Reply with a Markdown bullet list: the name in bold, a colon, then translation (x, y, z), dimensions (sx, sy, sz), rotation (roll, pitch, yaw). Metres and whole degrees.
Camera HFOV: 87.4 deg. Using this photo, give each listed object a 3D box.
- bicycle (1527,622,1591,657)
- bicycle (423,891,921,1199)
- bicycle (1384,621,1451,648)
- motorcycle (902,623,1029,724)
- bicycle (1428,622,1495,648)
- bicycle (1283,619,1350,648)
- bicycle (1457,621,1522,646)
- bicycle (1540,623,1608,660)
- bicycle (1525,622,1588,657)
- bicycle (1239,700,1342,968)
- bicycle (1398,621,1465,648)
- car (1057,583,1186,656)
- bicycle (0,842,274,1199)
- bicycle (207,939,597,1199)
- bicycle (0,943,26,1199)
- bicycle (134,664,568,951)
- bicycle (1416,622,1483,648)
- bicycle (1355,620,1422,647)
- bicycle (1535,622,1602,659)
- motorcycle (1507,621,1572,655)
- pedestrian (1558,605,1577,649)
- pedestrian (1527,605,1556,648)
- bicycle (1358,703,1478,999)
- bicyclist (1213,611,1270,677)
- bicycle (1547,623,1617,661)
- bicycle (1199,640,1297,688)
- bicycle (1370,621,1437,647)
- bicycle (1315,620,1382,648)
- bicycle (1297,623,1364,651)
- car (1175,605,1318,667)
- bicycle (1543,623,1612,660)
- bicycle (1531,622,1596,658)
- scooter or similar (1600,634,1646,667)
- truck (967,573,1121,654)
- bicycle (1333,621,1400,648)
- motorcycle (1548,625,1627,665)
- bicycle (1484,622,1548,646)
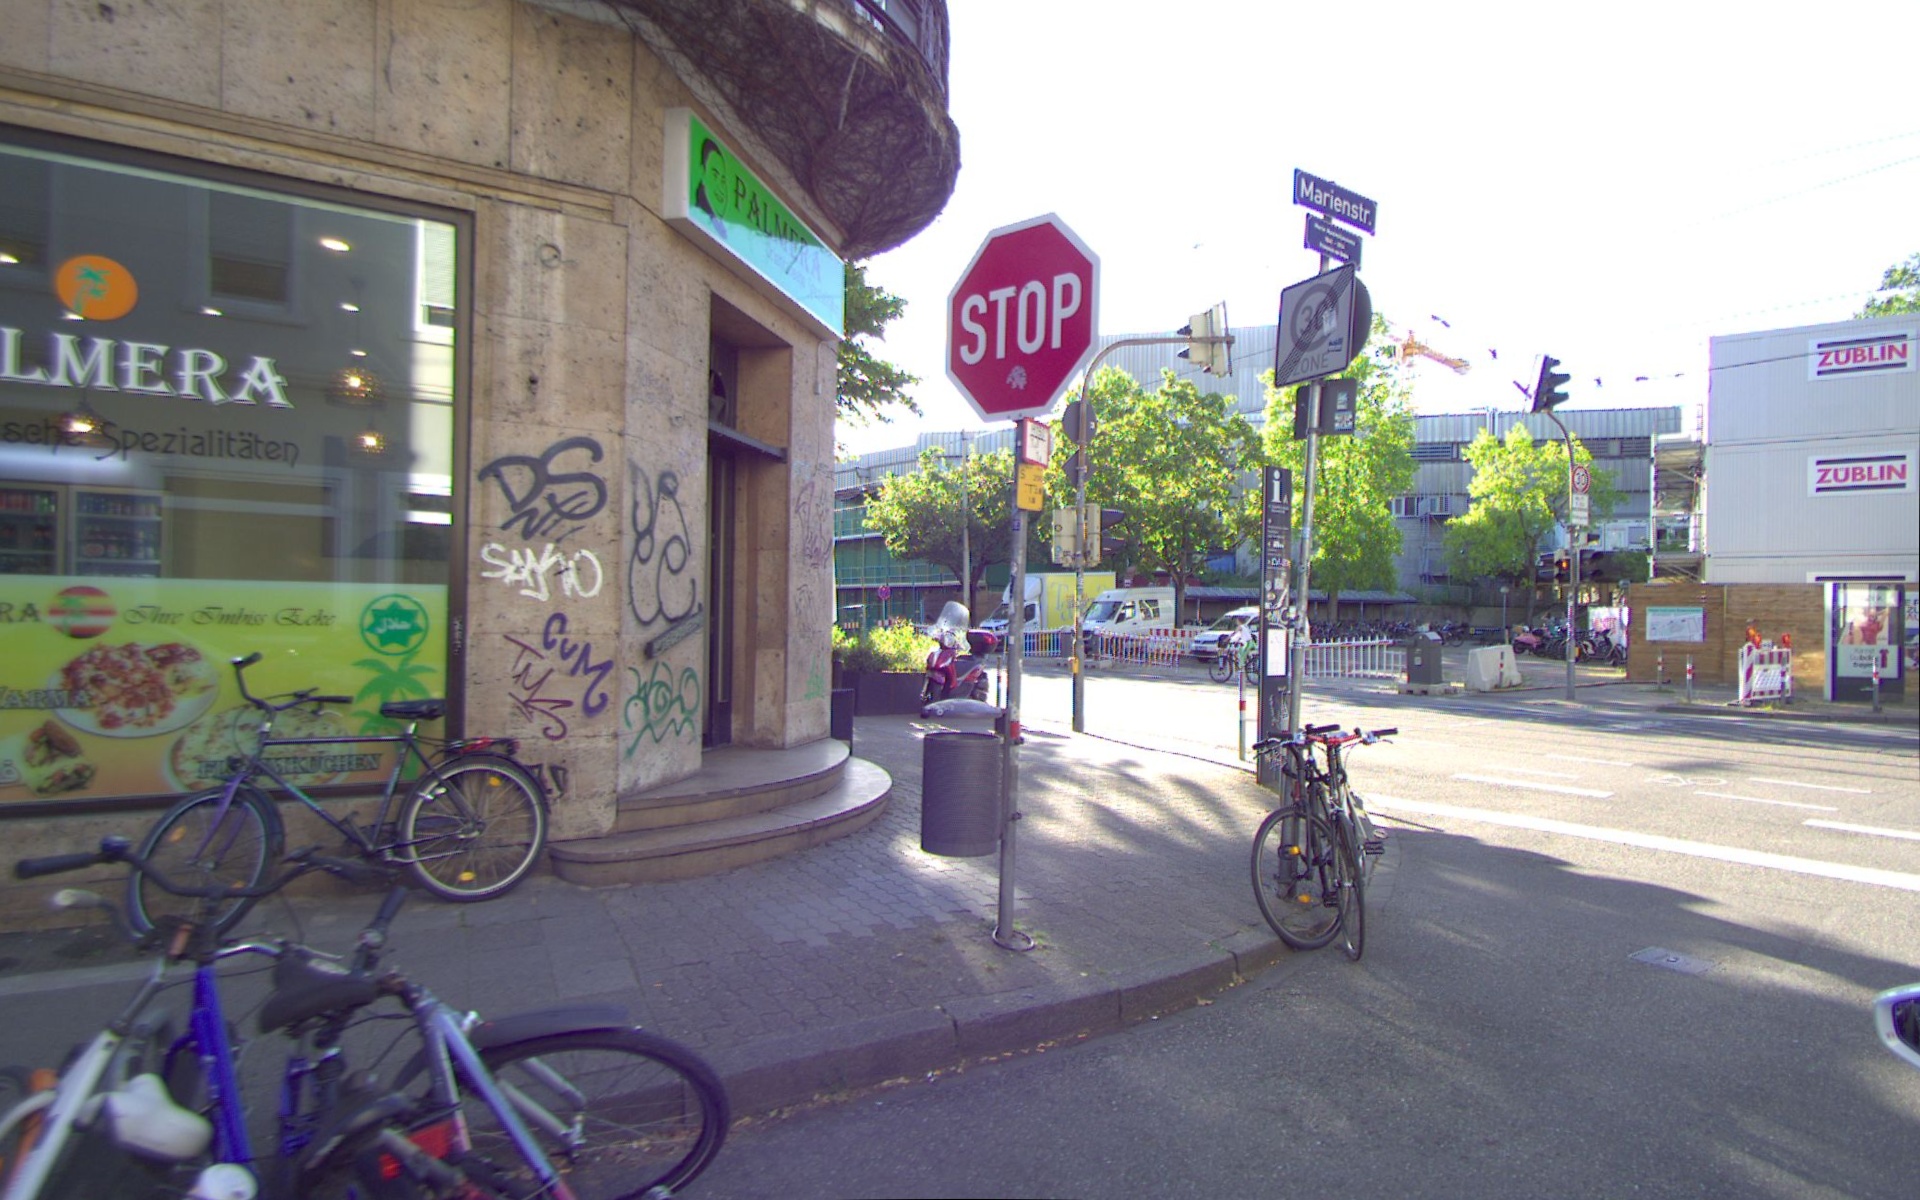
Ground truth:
- **bicycle**: translation (22.472, 1.485, 37.709), dimensions (2.009, 1.274, 0.543), rotation (0, 0, 18)
- **bicycle**: translation (-0.593, 1.088, 1.719), dimensions (0.368, 0.829, 1.299), rotation (1, -1, -37)
- **bicycle**: translation (21.412, 1.586, 47.086), dimensions (0.811, 1.163, 3.069), rotation (0, -1, -26)
- **motorcycle**: translation (0.141, 1.070, 14.904), dimensions (0.981, 1.368, 2.420), rotation (0, -3, 24)
- **bicycle**: translation (24.158, 1.681, 48.466), dimensions (0.811, 1.163, 3.069), rotation (0, -1, -26)
- **bicycle**: translation (15.564, 1.448, 43.961), dimensions (0.811, 1.163, 3.069), rotation (0, -1, -26)
- **bicycle**: translation (26.783, 1.678, 50.866), dimensions (0.811, 1.163, 3.069), rotation (0, -1, -26)
- **bicycle**: translation (21.727, 1.444, 35.577), dimensions (2.009, 1.274, 0.471), rotation (0, 0, 18)
- **bicycle**: translation (22.707, 1.497, 38.257), dimensions (2.009, 1.274, 0.543), rotation (0, 0, 18)
- **bicycle**: translation (1.811, 1.141, 5.389), dimensions (0.442, 1.059, 1.664), rotation (0, -1, 21)
- **bicycle**: translation (22.272, 1.616, 47.521), dimensions (0.811, 1.163, 3.069), rotation (0, -1, -26)
- **car**: translation (6.501, 0.707, 40.088), dimensions (5.332, 2.565, 1.978), rotation (-3, 2, -38)
- **bicycle**: translation (-1.518, 0.984, 1.833), dimensions (0.358, 0.829, 1.376), rotation (1, -3, -37)
- **bicycle**: translation (-0.888, 1.121, 1.487), dimensions (0.352, 0.829, 1.299), rotation (1, -1, -37)
- **bicycle**: translation (-1.799, 1.136, 1.556), dimensions (0.378, 0.829, 1.299), rotation (1, -3, -37)
- **bicycle**: translation (-2.632, 0.849, 4.503), dimensions (1.572, 1.106, 0.396), rotation (2, -1, -29)
- **bicycle**: translation (23.360, 1.653, 47.997), dimensions (0.811, 1.163, 3.069), rotation (0, -1, -26)
- **bicycle**: translation (19.703, 1.527, 46.241), dimensions (0.811, 1.163, 3.069), rotation (0, -1, -26)
- **bicycle**: translation (22.117, 1.465, 36.566), dimensions (2.009, 1.274, 0.543), rotation (0, 0, 18)
- **motorcycle**: translation (22.754, 1.490, 39.475), dimensions (2.168, 1.274, 0.543), rotation (0, 0, 18)
- **pedestrian**: translation (28.757, 1.281, 47.564), dimensions (0.789, 2.040, 1.028), rotation (0, 0, 31)
- **pedestrian**: translation (27.868, 1.281, 48.134), dimensions (0.926, 2.040, 0.798), rotation (0, 0, -25)
- **bicycle**: translation (2.301, 1.163, 5.164), dimensions (0.449, 1.060, 1.687), rotation (0, 1, 21)
- **bicyclist**: translation (7.312, 1.139, 26.103), dimensions (0.887, 1.661, 1.089), rotation (3, -2, -35)
- **bicycle**: translation (21.431, 1.428, 34.639), dimensions (2.009, 1.274, 0.471), rotation (0, 0, 18)
- **bicycle**: translation (7.403, 1.635, 25.937), dimensions (0.887, 1.107, 2.407), rotation (3, -2, -34)
- **bicycle**: translation (20.606, 1.559, 46.722), dimensions (0.811, 1.163, 3.069), rotation (0, -1, -26)
- **bicycle**: translation (17.379, 1.512, 45.056), dimensions (0.811, 1.163, 3.069), rotation (0, -1, -26)
- **bicycle**: translation (16.378, 1.618, 44.518), dimensions (0.811, 1.163, 3.069), rotation (0, -1, -26)
- **car**: translation (10.075, 1.185, 35.198), dimensions (4.888, 1.918, 1.994), rotation (-1, 1, -30)
- **bicycle**: translation (21.556, 1.437, 35.102), dimensions (2.009, 1.274, 0.471), rotation (0, 0, 18)
- **bicycle**: translation (22.293, 1.475, 37.133), dimensions (2.009, 1.274, 0.543), rotation (0, 0, 18)
- **scooter or similar**: translation (21.164, 1.604, 32.067), dimensions (1.463, 1.033, 0.384), rotation (0, 0, -17)
- **truck**: translation (3.839, 0.525, 45.088), dimensions (7.049, 3.393, 2.367), rotation (-1, 1, -35)
- **bicycle**: translation (18.351, 1.546, 45.486), dimensions (0.811, 1.163, 3.069), rotation (0, -1, -26)
- **motorcycle**: translation (20.982, 1.502, 33.636), dimensions (2.168, 1.274, 0.543), rotation (0, 0, 18)
- **bicycle**: translation (29.098, 1.763, 52.653), dimensions (0.811, 1.163, 3.069), rotation (0, -1, -26)
